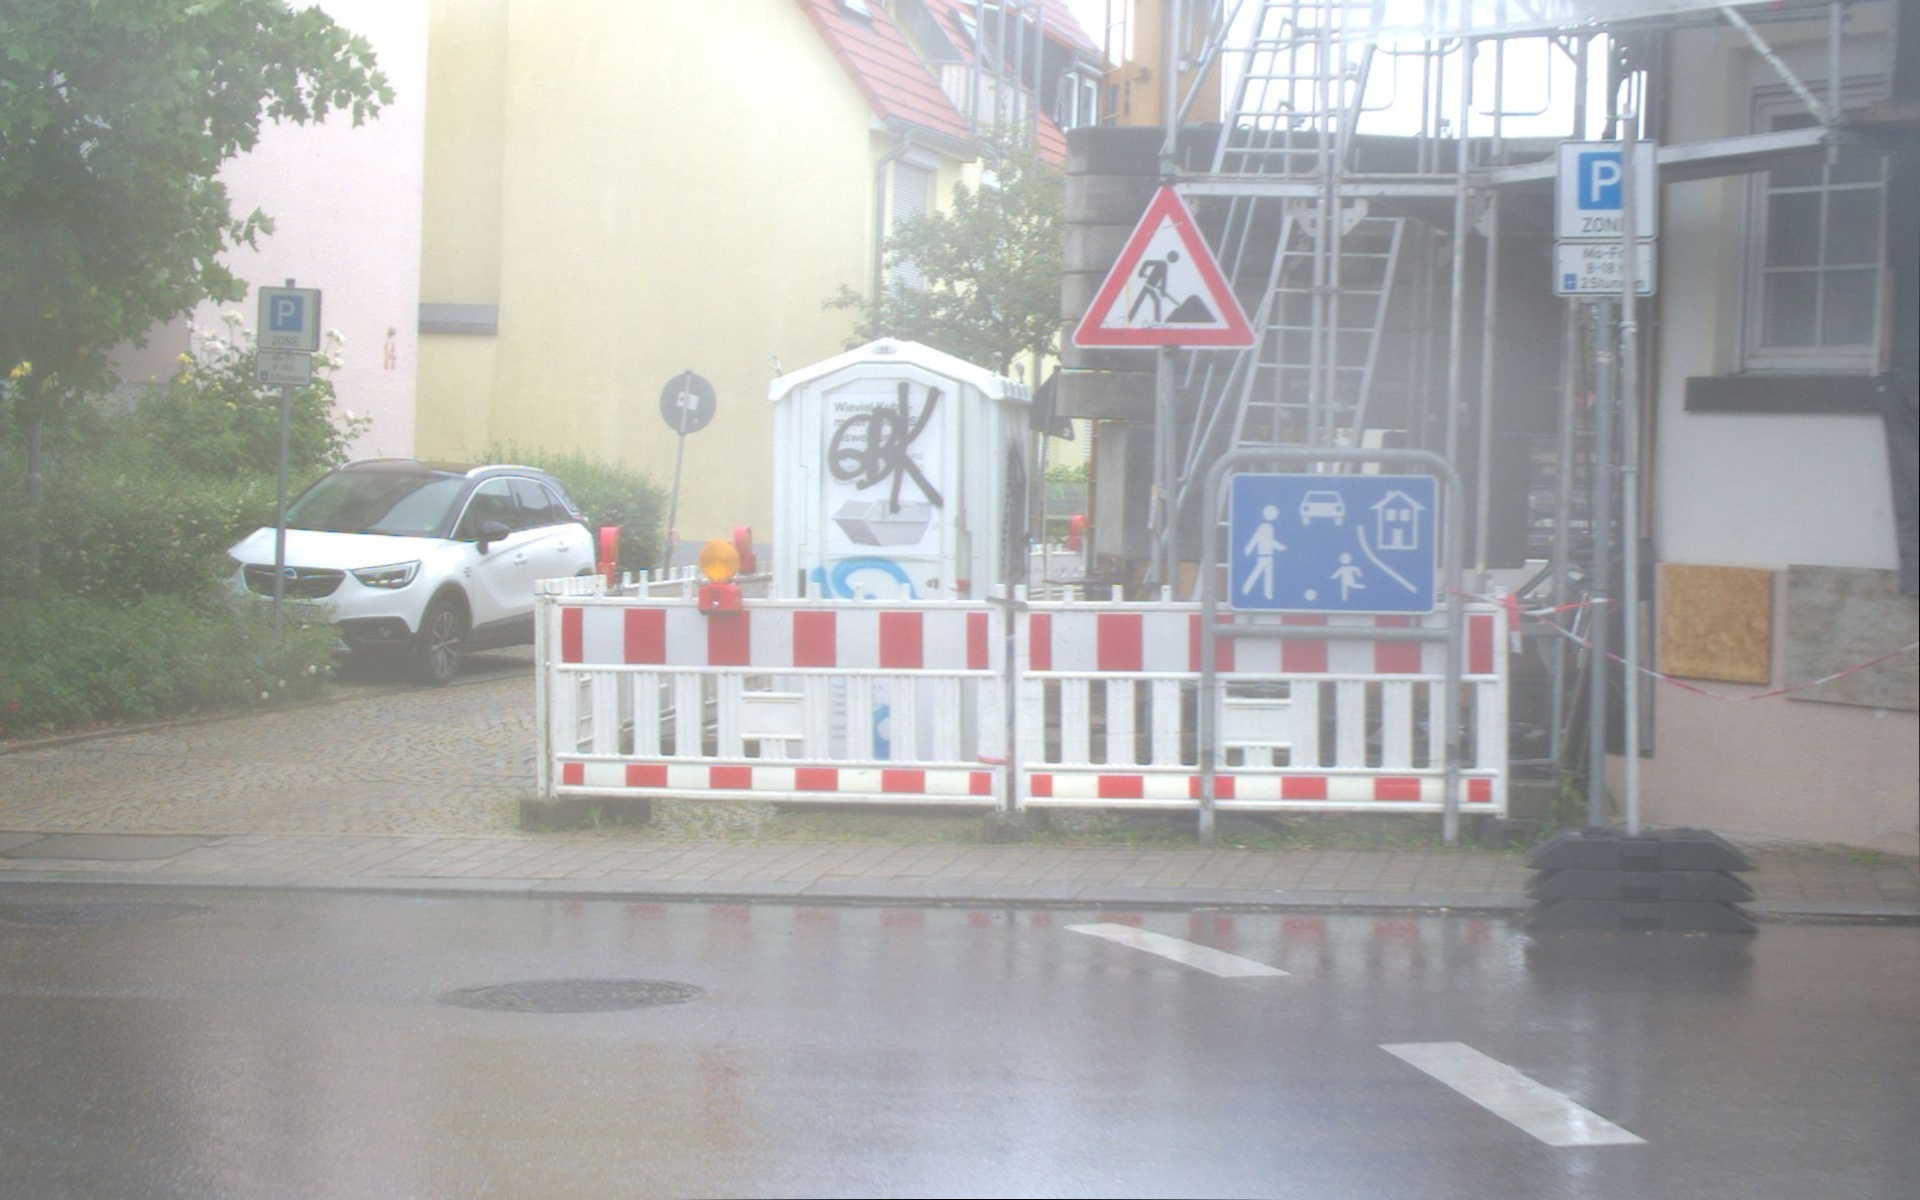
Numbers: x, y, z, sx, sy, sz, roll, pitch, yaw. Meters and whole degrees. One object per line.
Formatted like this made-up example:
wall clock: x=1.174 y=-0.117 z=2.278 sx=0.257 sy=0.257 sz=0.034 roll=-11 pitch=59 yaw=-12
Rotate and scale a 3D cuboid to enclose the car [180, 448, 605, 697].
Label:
car: x=-4.195 y=-0.268 z=26.036 sx=1.601 sy=1.672 sz=3.936 roll=3 pitch=3 yaw=16
